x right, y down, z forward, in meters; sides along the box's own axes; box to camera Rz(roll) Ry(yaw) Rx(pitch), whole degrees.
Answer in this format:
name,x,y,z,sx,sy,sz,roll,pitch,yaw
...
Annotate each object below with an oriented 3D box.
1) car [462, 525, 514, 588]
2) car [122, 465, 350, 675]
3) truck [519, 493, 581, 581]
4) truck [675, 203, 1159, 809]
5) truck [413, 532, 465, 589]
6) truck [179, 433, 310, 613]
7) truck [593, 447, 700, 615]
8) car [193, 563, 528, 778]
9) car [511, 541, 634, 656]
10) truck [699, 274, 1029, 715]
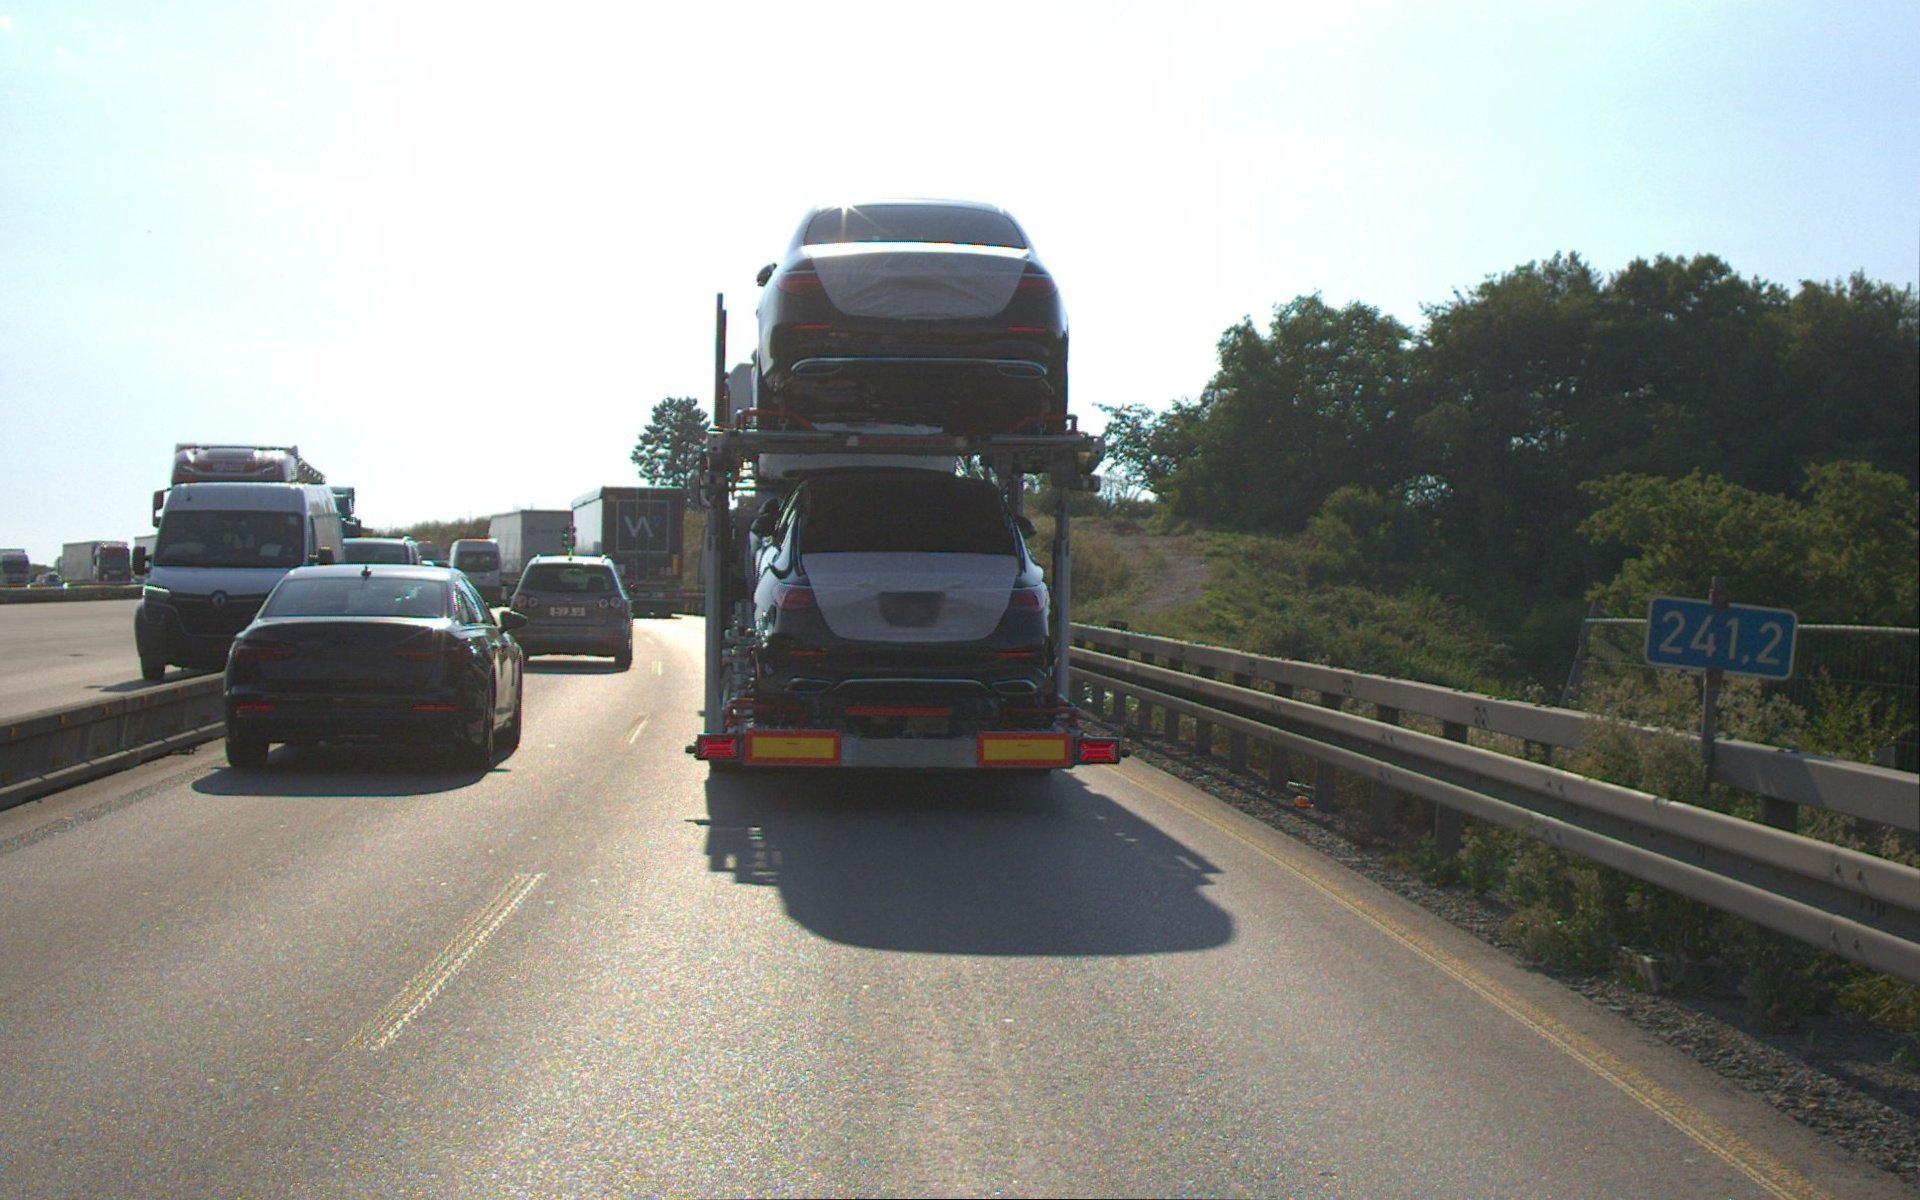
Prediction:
name,x,y,z,sx,sy,sz,roll,pitch,yaw
car,-18.838,-1.727,137.380,1.920,2.484,5.410,0,1,-6
car,-9.075,-0.390,43.586,2.104,2.474,6.068,0,1,-5
truck,-17.427,-2.645,146.441,2.530,3.635,8.907,0,1,-6
truck,-0.548,-0.607,25.167,2.799,3.485,10.607,0,1,-3
truck,-29.569,-2.263,195.302,2.590,3.159,6.678,0,1,-6
truck,-15.430,-1.621,74.680,2.313,3.595,11.975,0,1,-10
truck,-10.286,-2.219,111.976,3.285,5.219,9.938,0,1,-6
car,-4.375,0.454,25.797,1.934,1.394,4.962,0,1,-3
car,-5.574,-0.051,49.726,1.691,1.590,4.001,0,1,-5
truck,-1.114,-0.965,34.538,2.837,3.779,9.988,0,1,-3
